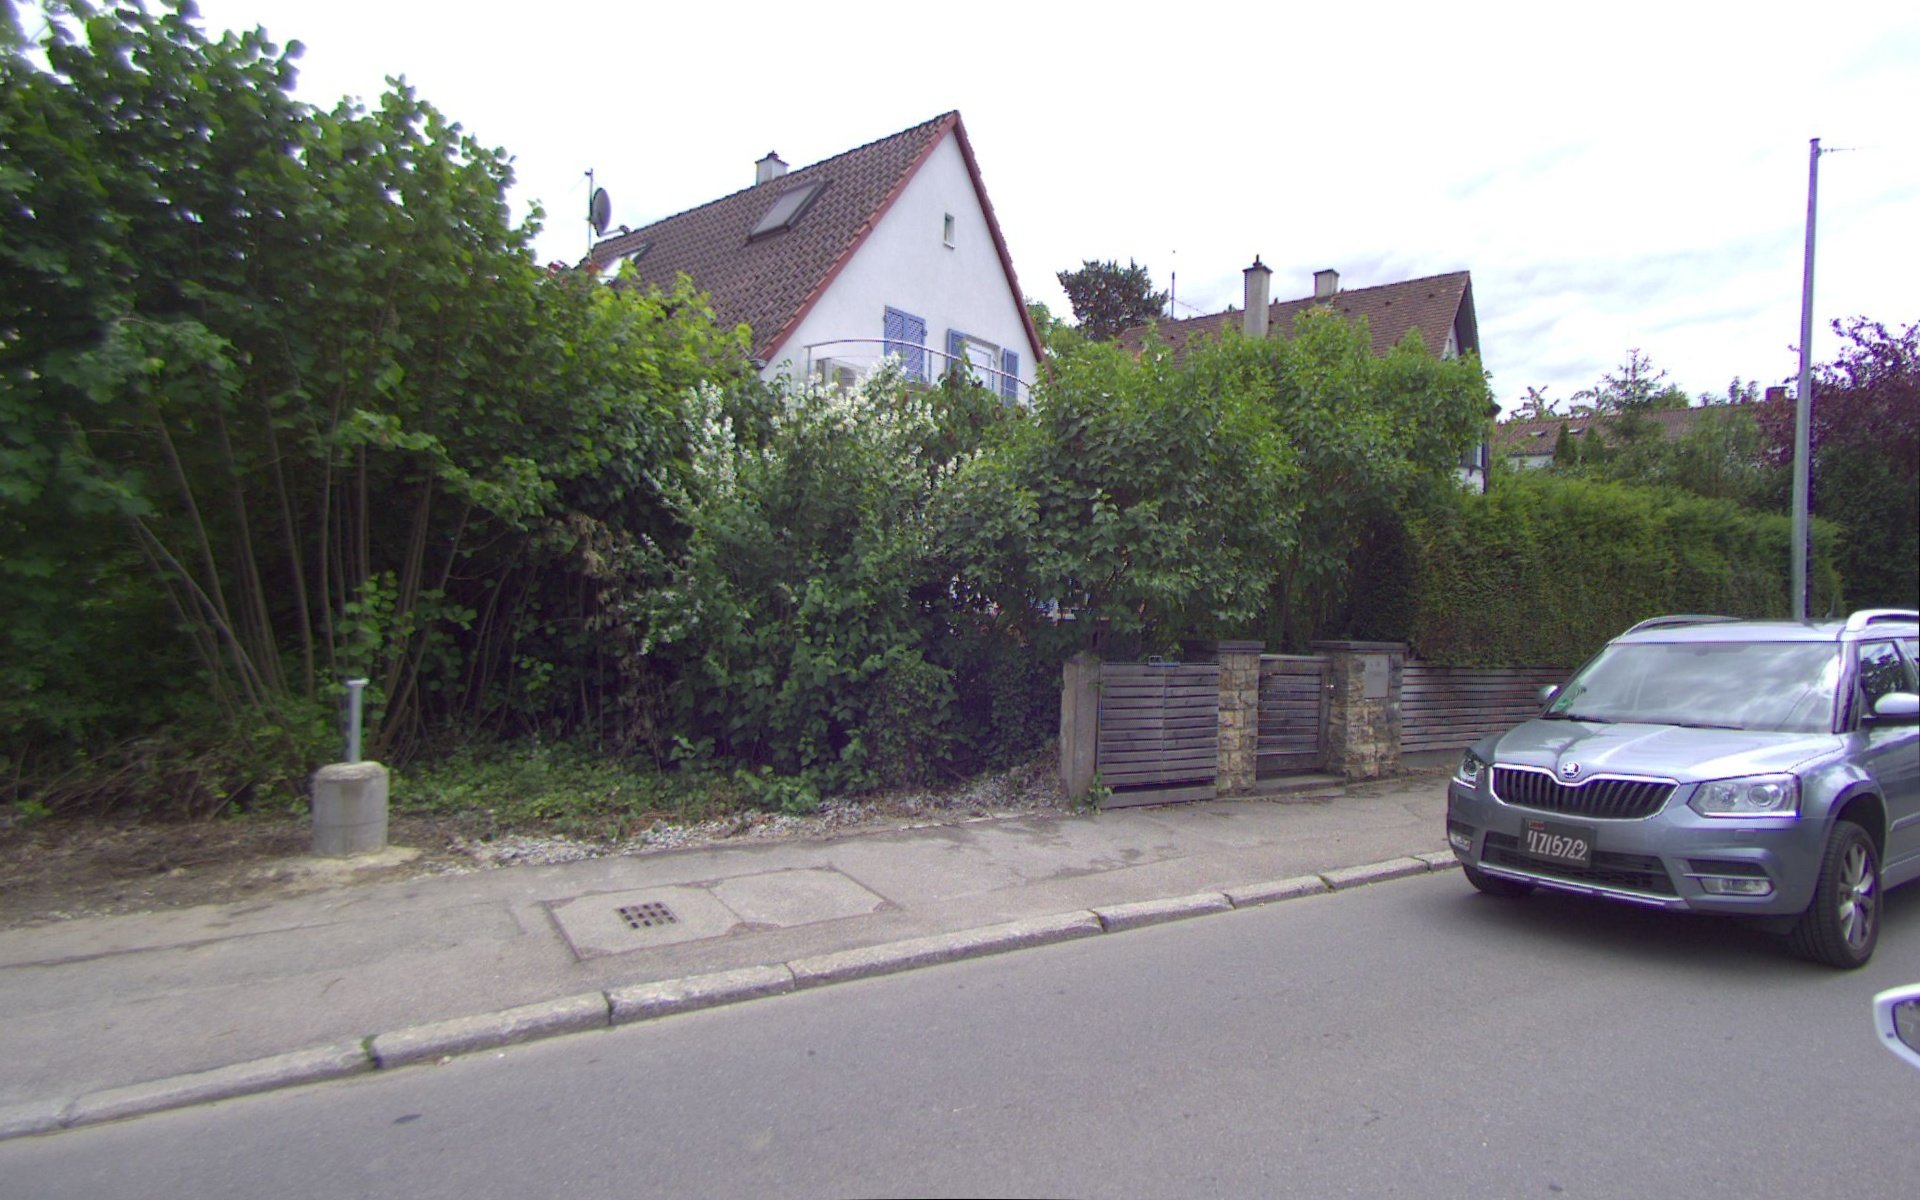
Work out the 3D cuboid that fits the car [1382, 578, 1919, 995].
[{"bbox_3d":[4.572,0.864,5.972,4.094,1.677,1.830,2,-4,-33],"label":"car"}]
